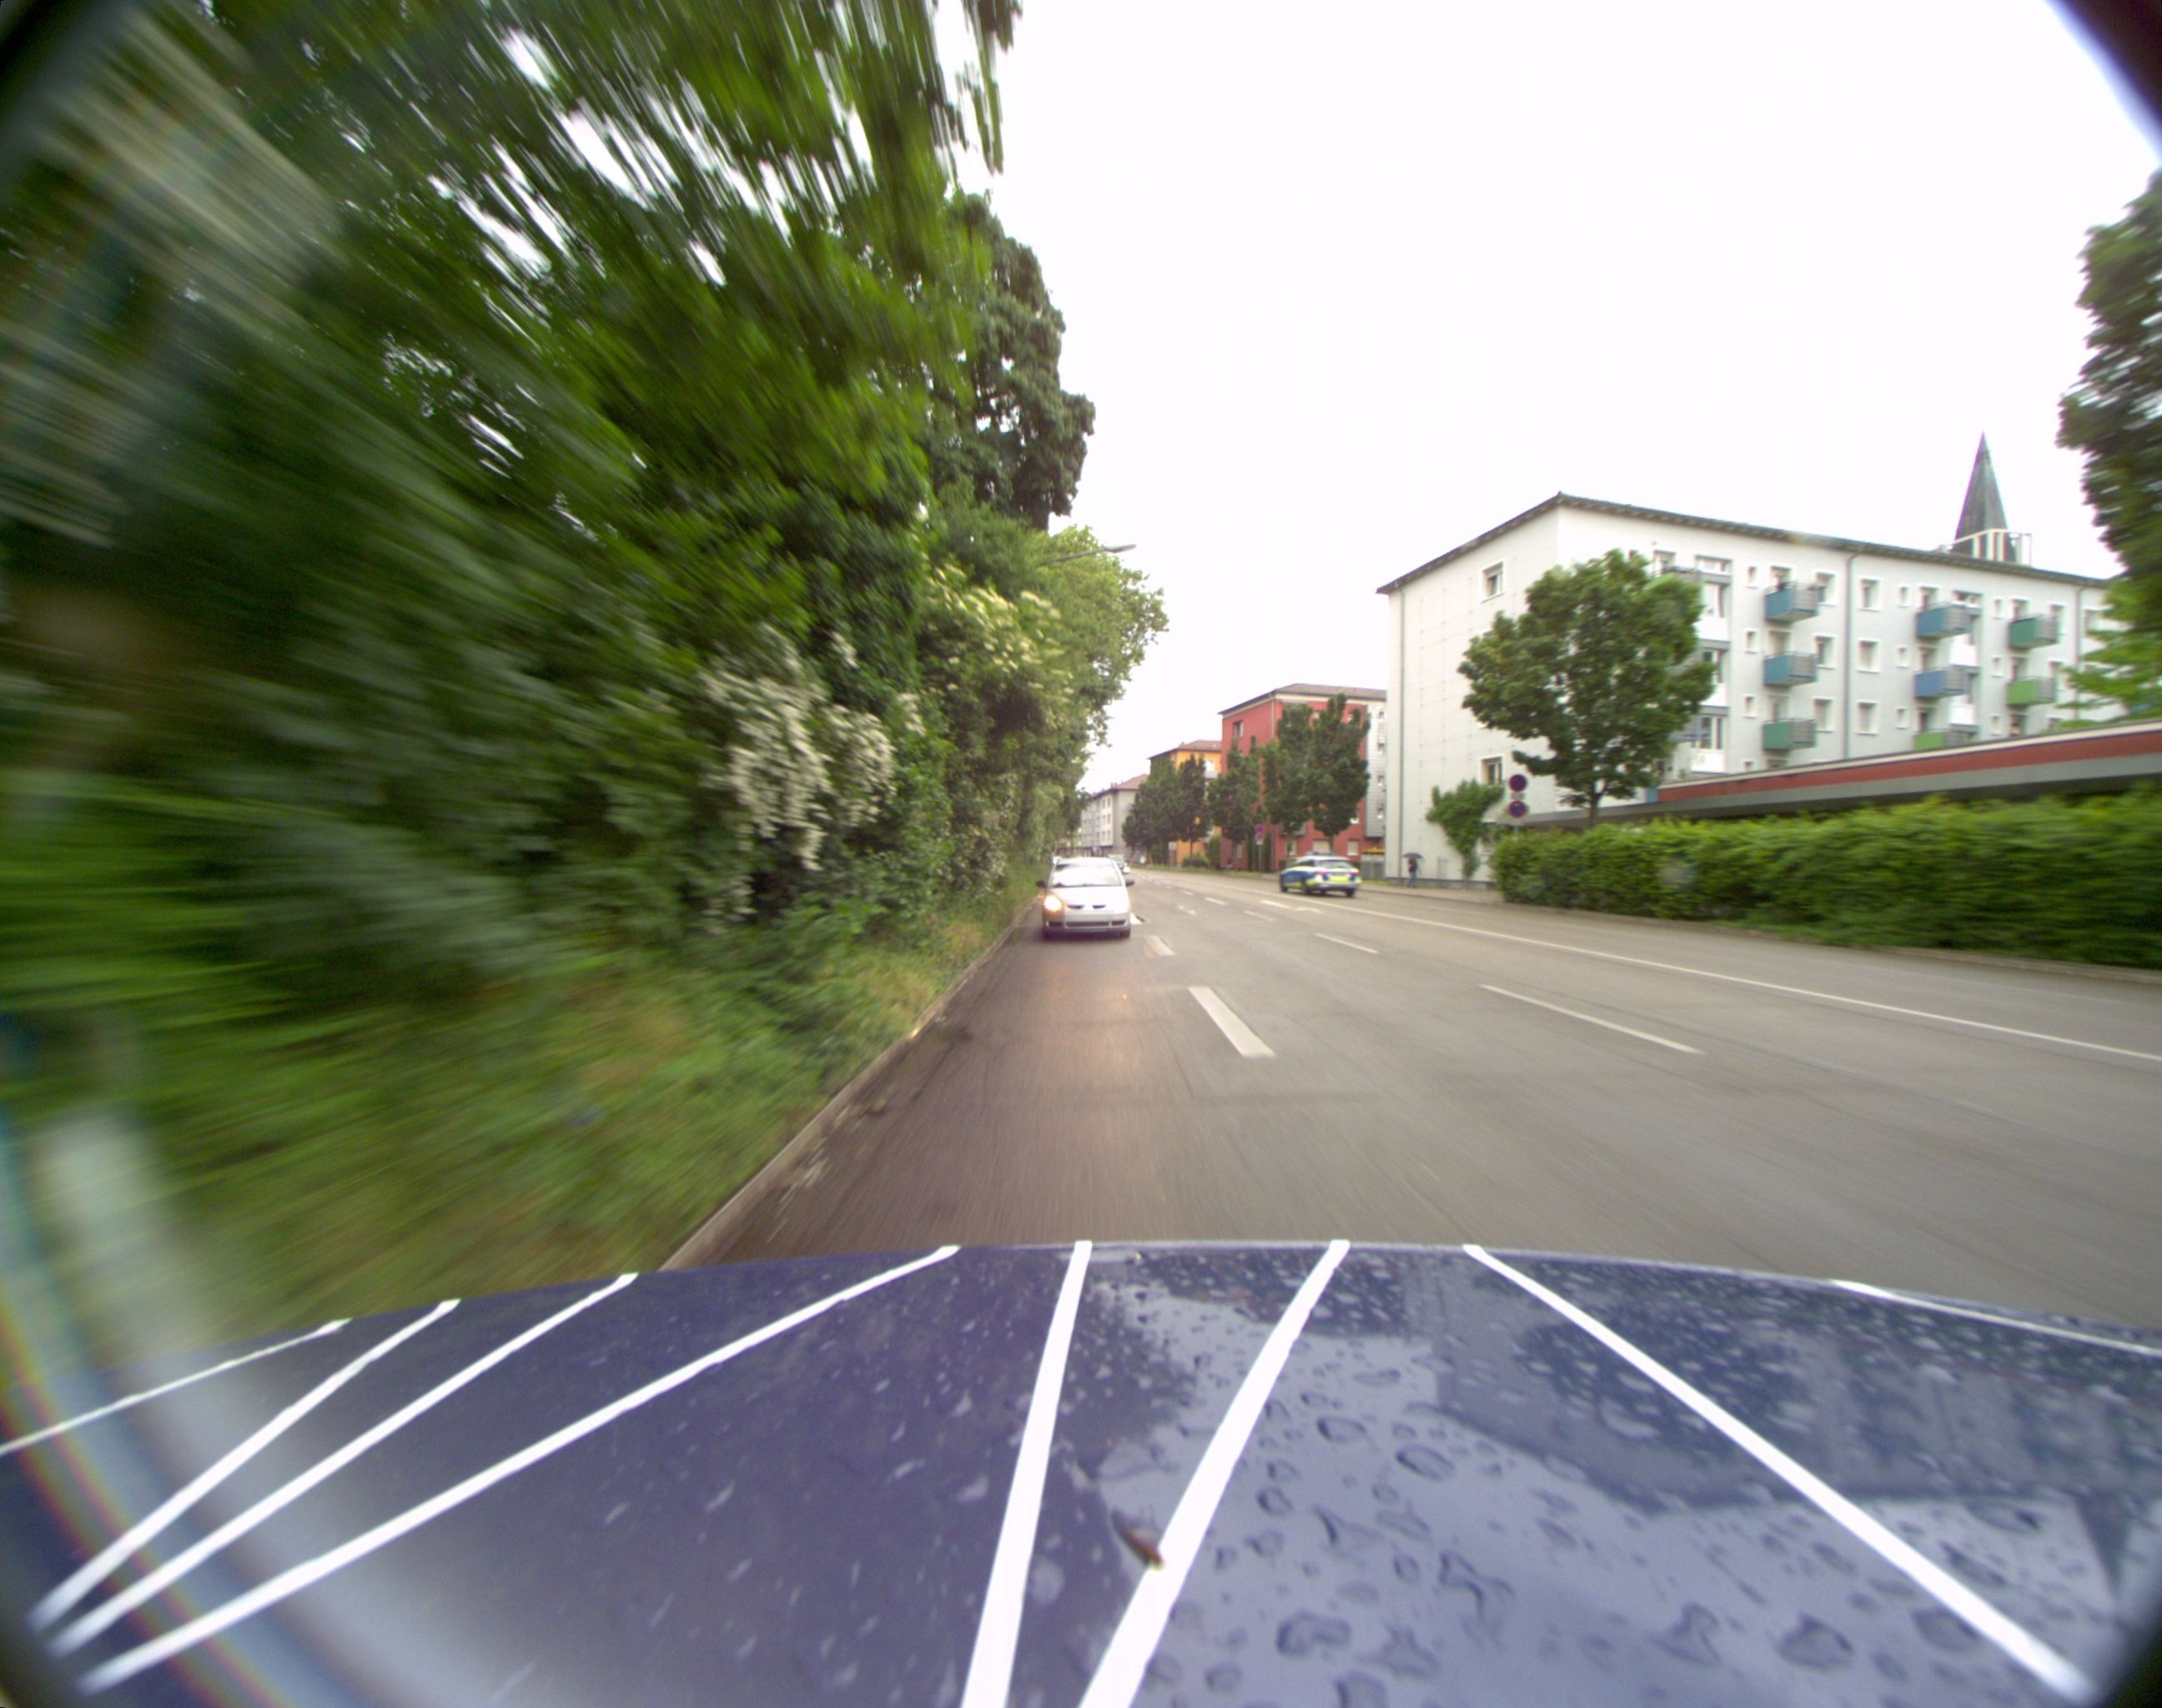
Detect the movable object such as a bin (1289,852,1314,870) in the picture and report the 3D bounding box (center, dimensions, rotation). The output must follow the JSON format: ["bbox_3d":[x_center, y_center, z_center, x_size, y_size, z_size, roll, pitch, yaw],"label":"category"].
[{"bbox_3d":[16.366,0.522,56.413,1.161,1.323,1.965,0,0,-6],"label":"movable object such as a bin"}]

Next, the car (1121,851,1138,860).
[{"bbox_3d":[8.125,0.225,127.665,1.857,1.477,4.629,-2,1,-11],"label":"car"}]

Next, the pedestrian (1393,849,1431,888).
[{"bbox_3d":[15.448,0.675,35.495,1.137,1.793,1.262,0,0,-3],"label":"pedestrian"}]

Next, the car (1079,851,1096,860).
[{"bbox_3d":[1.030,0.203,126.374,1.880,1.382,4.622,2,0,-10],"label":"car"}]

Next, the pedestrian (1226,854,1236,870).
[{"bbox_3d":[13.368,0.713,67.746,0.673,1.441,0.835,1,0,-9],"label":"pedestrian"}]

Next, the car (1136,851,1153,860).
[{"bbox_3d":[10.706,0.224,128.277,1.736,1.516,4.224,1,0,-11],"label":"car"}]

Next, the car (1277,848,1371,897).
[{"bbox_3d":[9.110,0.639,28.994,1.999,1.739,4.807,0,0,-1],"label":"car"}]

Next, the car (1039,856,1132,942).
[{"bbox_3d":[0.117,0.864,16.465,1.755,1.586,4.169,0,0,1],"label":"car"}]

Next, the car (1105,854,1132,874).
[{"bbox_3d":[3.125,0.838,63.748,1.736,1.590,3.997,0,1,-6],"label":"car"}]

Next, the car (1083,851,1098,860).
[{"bbox_3d":[1.751,0.281,137.503,1.853,1.536,4.243,-2,1,-10],"label":"car"}]

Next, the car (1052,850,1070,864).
[{"bbox_3d":[-2.860,0.433,106.597,2.000,1.815,3.996,-2,1,-8],"label":"car"}]

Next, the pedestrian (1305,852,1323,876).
[{"bbox_3d":[14.804,0.650,48.357,0.694,1.508,1.068,1,0,-9],"label":"pedestrian"}]

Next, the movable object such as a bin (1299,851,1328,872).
[{"bbox_3d":[16.577,0.501,54.246,1.219,1.476,2.086,0,0,-6],"label":"movable object such as a bin"}]

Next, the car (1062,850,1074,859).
[{"bbox_3d":[-2.802,0.023,161.848,1.906,1.859,4.310,0,1,-11],"label":"car"}]
